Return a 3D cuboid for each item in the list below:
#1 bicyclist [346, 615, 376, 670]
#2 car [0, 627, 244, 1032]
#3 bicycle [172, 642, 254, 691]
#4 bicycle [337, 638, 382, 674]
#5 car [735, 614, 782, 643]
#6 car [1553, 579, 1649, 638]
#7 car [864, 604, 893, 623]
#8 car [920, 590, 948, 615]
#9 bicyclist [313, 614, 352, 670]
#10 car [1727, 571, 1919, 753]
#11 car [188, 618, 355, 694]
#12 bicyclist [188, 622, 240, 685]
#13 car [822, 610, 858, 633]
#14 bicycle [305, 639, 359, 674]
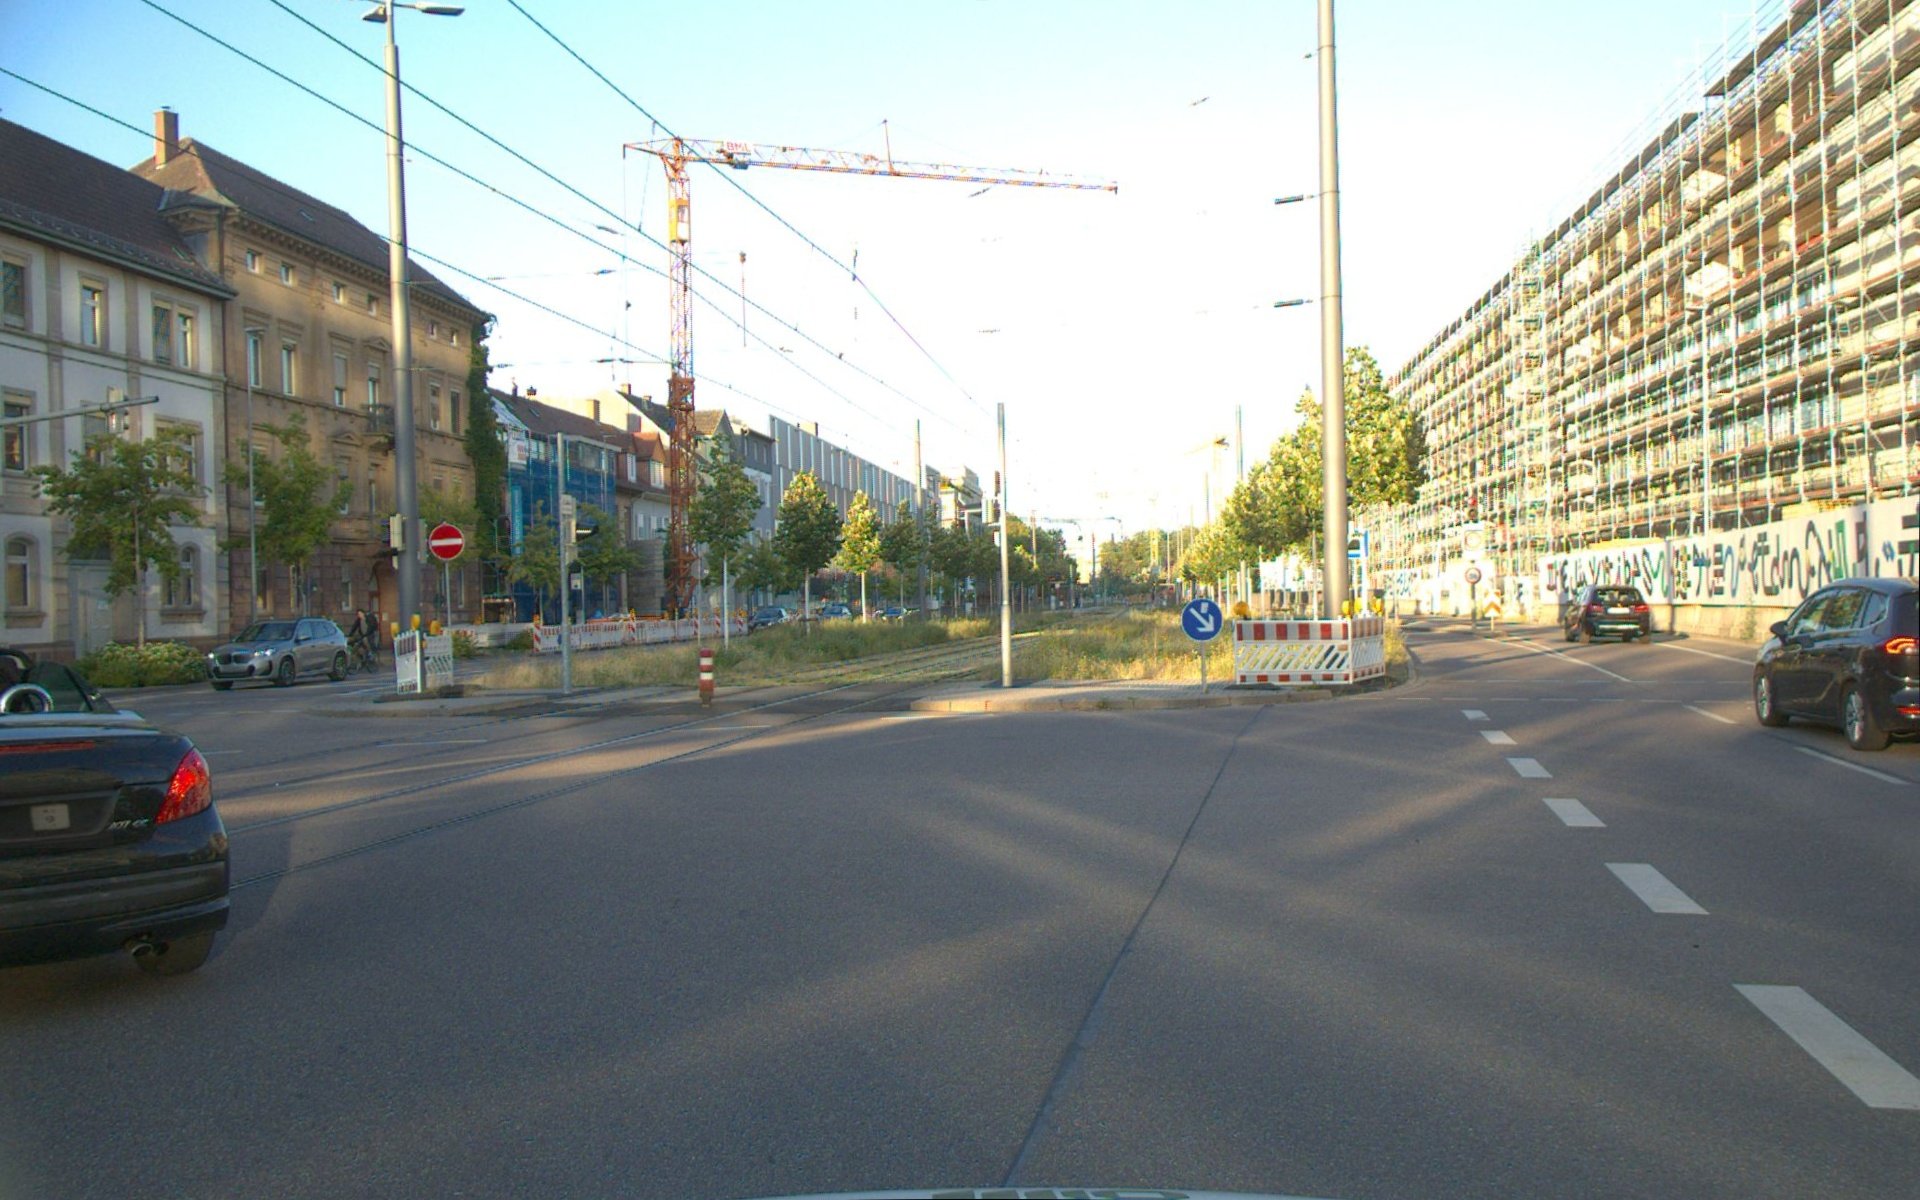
[{"bbox_3d":[-17.666,1.236,48.798,0.577,1.596,0.711,0,0,7],"label":"bicyclist"},{"bbox_3d":[-4.662,0.859,7.144,1.666,1.376,3.936,-1,-1,-43],"label":"car"},{"bbox_3d":[-19.540,1.723,43.322,0.830,1.143,2.416,0,0,7],"label":"bicycle"},{"bbox_3d":[-17.682,1.653,48.714,0.577,0.992,1.557,0,0,7],"label":"bicycle"},{"bbox_3d":[-11.114,1.551,91.538,1.622,1.456,3.898,0,0,8],"label":"car"},{"bbox_3d":[17.607,0.199,45.603,1.782,1.545,4.795,0,0,13],"label":"car"},{"bbox_3d":[-6.703,1.119,136.477,1.622,1.456,3.898,0,0,8],"label":"car"},{"bbox_3d":[-2.129,0.178,135.809,1.622,1.998,4.270,0,0,8],"label":"car"},{"bbox_3d":[-18.489,1.235,48.756,0.756,1.598,0.793,0,0,10],"label":"bicyclist"},{"bbox_3d":[9.407,0.542,16.859,1.784,1.626,4.371,0,0,9],"label":"car"},{"bbox_3d":[-16.864,1.341,40.746,1.951,1.607,4.127,-3,0,7],"label":"car"},{"bbox_3d":[-19.538,1.391,43.320,0.830,1.620,1.000,0,0,7],"label":"bicyclist"},{"bbox_3d":[-7.925,1.409,109.698,1.622,1.456,3.898,0,0,8],"label":"car"},{"bbox_3d":[-18.495,1.652,48.757,0.756,0.961,1.641,0,0,10],"label":"bicycle"}]
